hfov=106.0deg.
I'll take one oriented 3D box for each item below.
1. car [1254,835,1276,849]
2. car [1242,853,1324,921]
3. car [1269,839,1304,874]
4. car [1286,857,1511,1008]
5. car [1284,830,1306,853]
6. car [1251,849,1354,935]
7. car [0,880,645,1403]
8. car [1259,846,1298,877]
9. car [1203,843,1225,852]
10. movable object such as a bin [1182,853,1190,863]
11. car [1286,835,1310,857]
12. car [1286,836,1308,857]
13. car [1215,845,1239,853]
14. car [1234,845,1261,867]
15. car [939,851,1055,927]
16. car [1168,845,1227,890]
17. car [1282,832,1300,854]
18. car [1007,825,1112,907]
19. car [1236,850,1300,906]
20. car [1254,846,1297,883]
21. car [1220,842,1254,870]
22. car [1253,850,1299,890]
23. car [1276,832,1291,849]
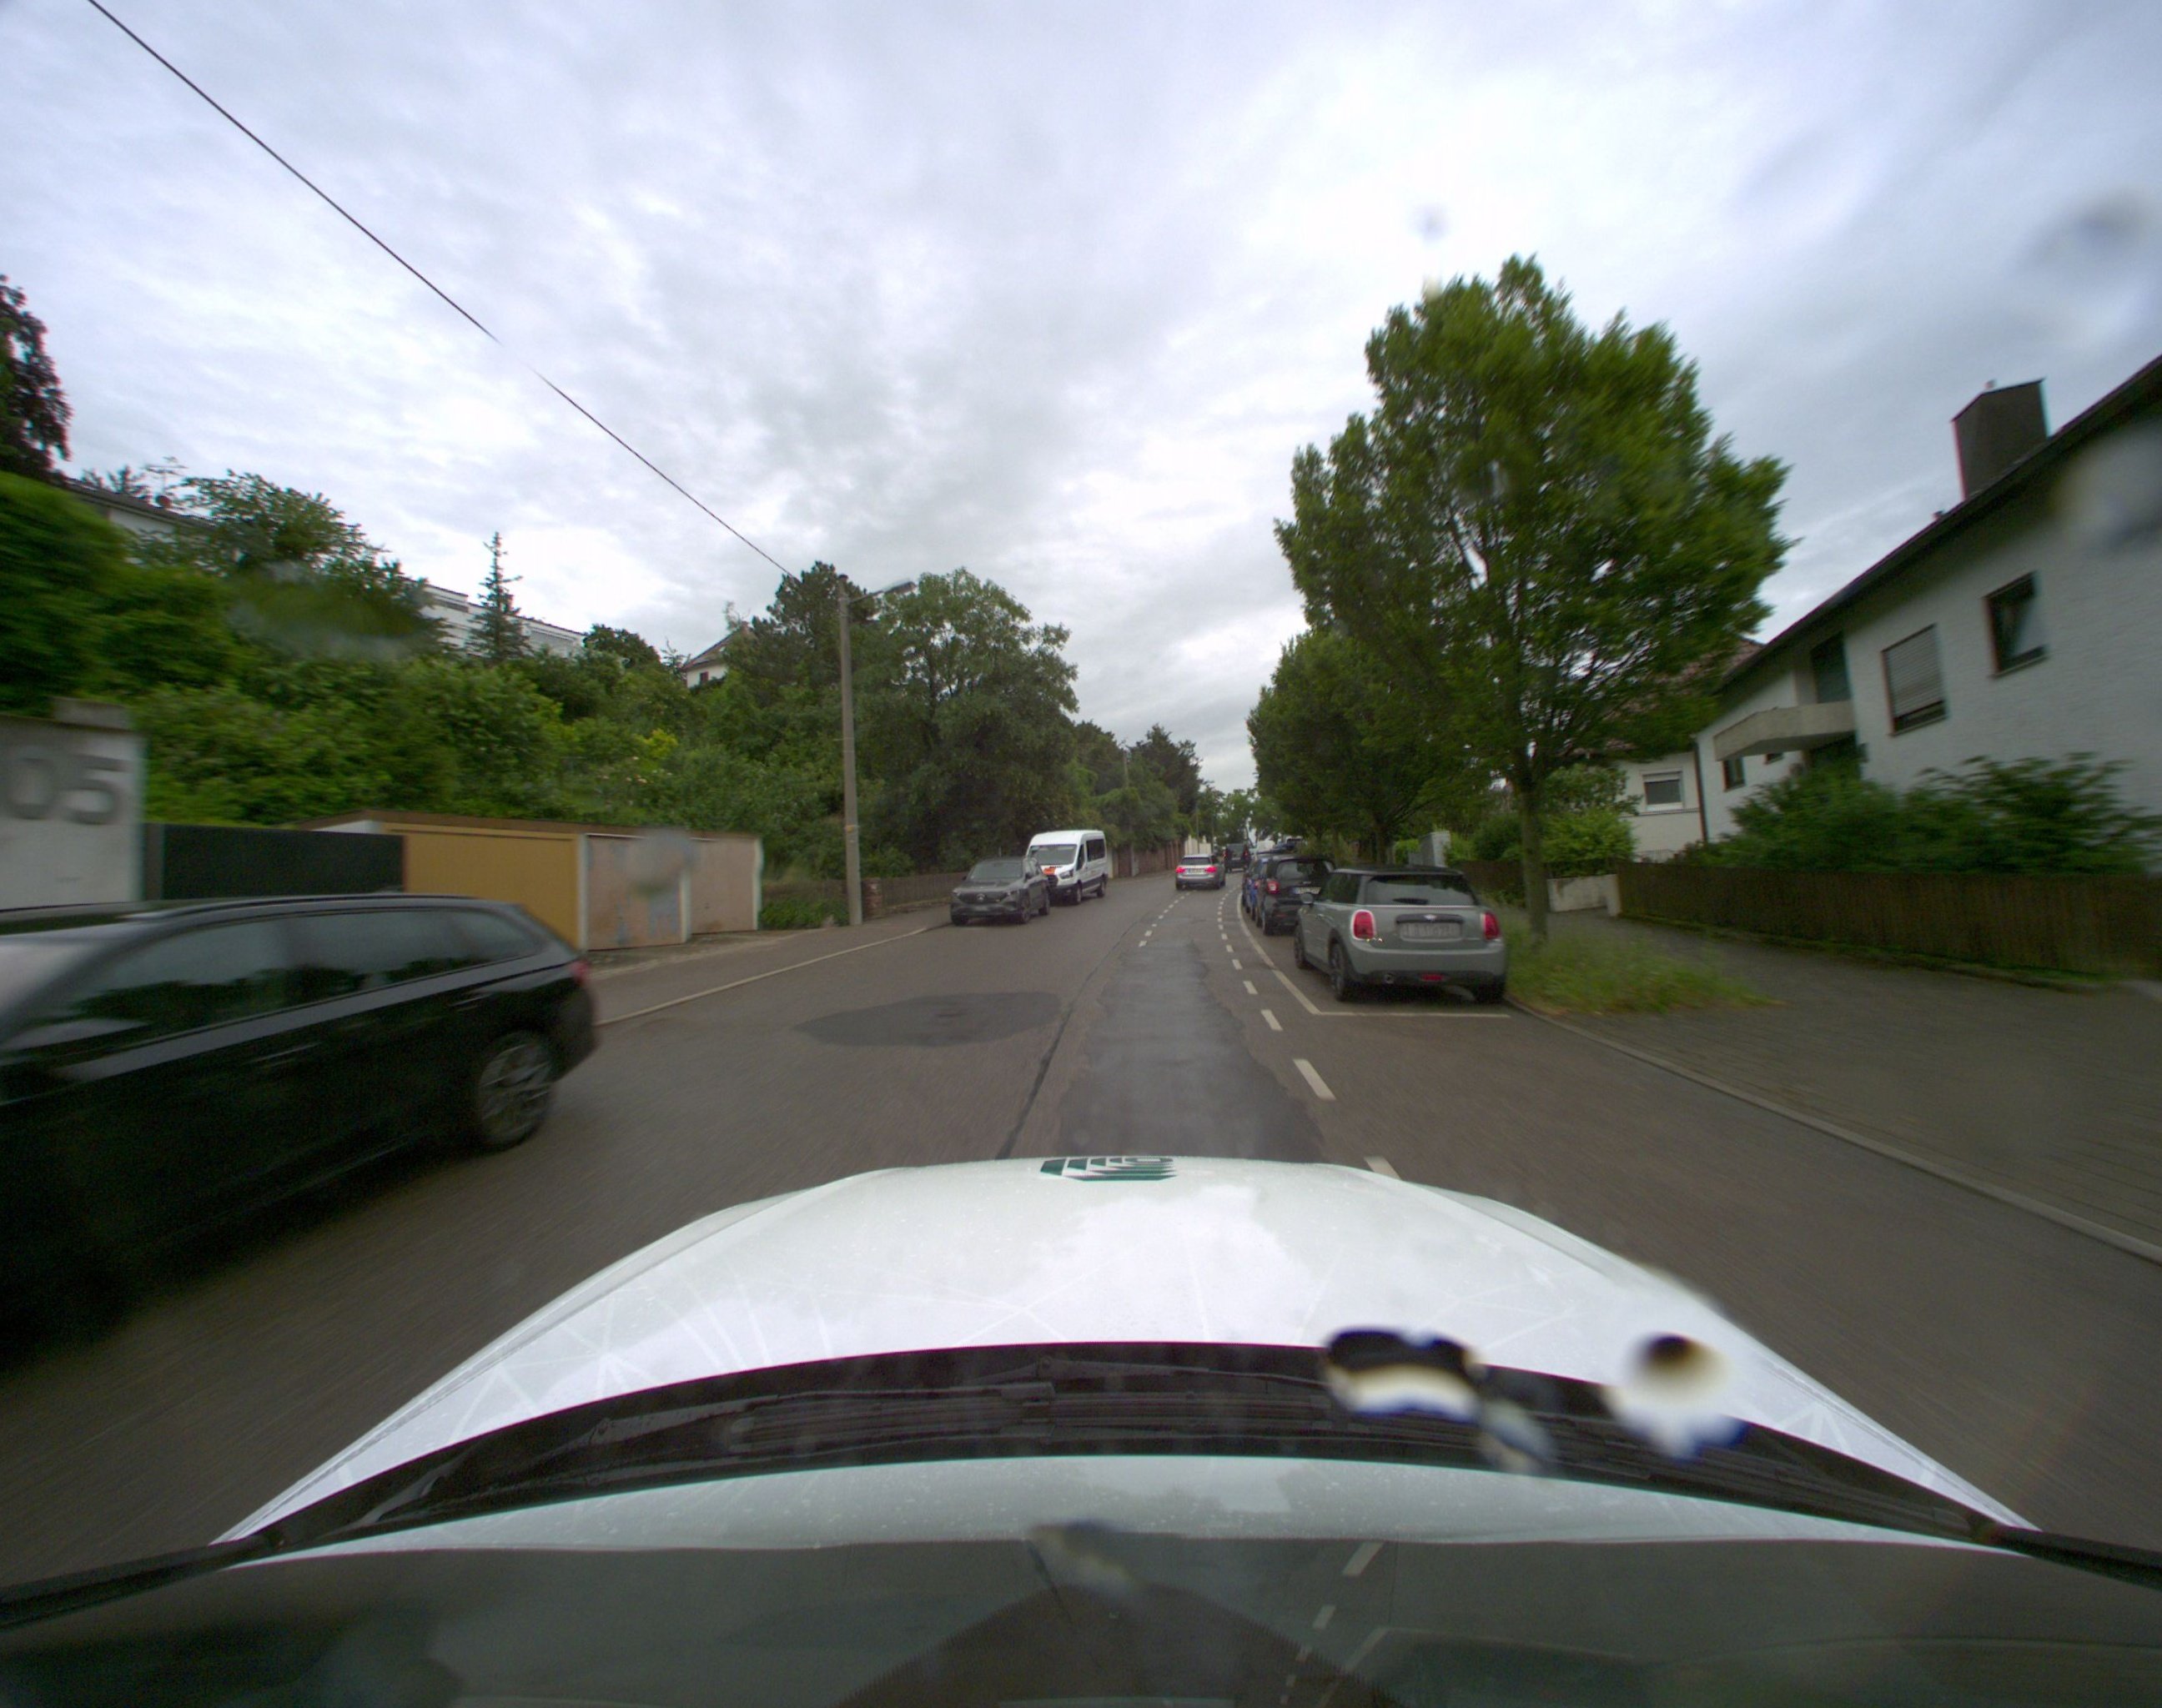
[{"bbox_3d":[33.859,-2.268,149.983,2.127,2.526,4.478,-1,1,-12],"label":"car"},{"bbox_3d":[4.997,0.753,20.560,1.644,1.519,4.010,-1,0,9],"label":"car"},{"bbox_3d":[11.840,0.083,46.809,1.764,1.852,4.444,-1,1,16],"label":"car"},{"bbox_3d":[3.602,0.780,9.923,1.660,1.471,3.716,0,0,6],"label":"car"},{"bbox_3d":[24.218,-1.471,92.327,2.158,2.492,6.056,-1,1,13],"label":"car"},{"bbox_3d":[4.407,0.712,16.594,1.617,1.562,3.029,-1,0,8],"label":"car"},{"bbox_3d":[-4.054,0.943,3.425,1.706,1.459,4.685,-2,0,2],"label":"car"},{"bbox_3d":[10.207,0.353,41.925,1.635,1.481,4.038,-1,1,18],"label":"car"},{"bbox_3d":[27.013,-1.287,165.549,1.978,1.697,4.622,-2,1,-33],"label":"car"},{"bbox_3d":[9.952,0.387,76.979,0.653,0.919,0.680,-3,0,16],"label":"movable object such as a bin"},{"bbox_3d":[19.148,-0.700,72.020,1.768,1.783,4.695,-3,0,13],"label":"car"},{"bbox_3d":[22.460,-0.815,84.852,1.980,2.052,5.139,-2,0,13],"label":"car"},{"bbox_3d":[29.067,-1.004,162.245,1.979,1.697,4.446,-2,1,-37],"label":"car"},{"bbox_3d":[13.866,0.150,67.660,1.979,1.708,4.016,-2,-1,15],"label":"car"},{"bbox_3d":[-2.047,0.821,21.271,1.885,1.691,4.556,-3,0,8],"label":"car"},{"bbox_3d":[4.981,0.549,34.292,2.011,1.708,4.231,-2,-1,13],"label":"car"},{"bbox_3d":[28.569,-1.520,111.056,2.110,2.886,5.789,-1,1,12],"label":"car"},{"bbox_3d":[-0.574,0.336,28.909,2.079,2.550,6.120,-3,0,14],"label":"car"},{"bbox_3d":[5.837,0.690,25.534,1.764,1.553,4.744,-1,0,12],"label":"car"},{"bbox_3d":[8.906,0.427,37.022,1.701,1.556,4.182,0,1,16],"label":"car"},{"bbox_3d":[10.348,0.147,54.232,1.983,1.708,4.008,-2,-1,7],"label":"car"},{"bbox_3d":[7.654,0.575,31.939,1.631,1.424,4.304,0,1,14],"label":"car"},{"bbox_3d":[31.491,-2.129,126.646,2.050,2.494,4.777,-1,1,13],"label":"car"}]
